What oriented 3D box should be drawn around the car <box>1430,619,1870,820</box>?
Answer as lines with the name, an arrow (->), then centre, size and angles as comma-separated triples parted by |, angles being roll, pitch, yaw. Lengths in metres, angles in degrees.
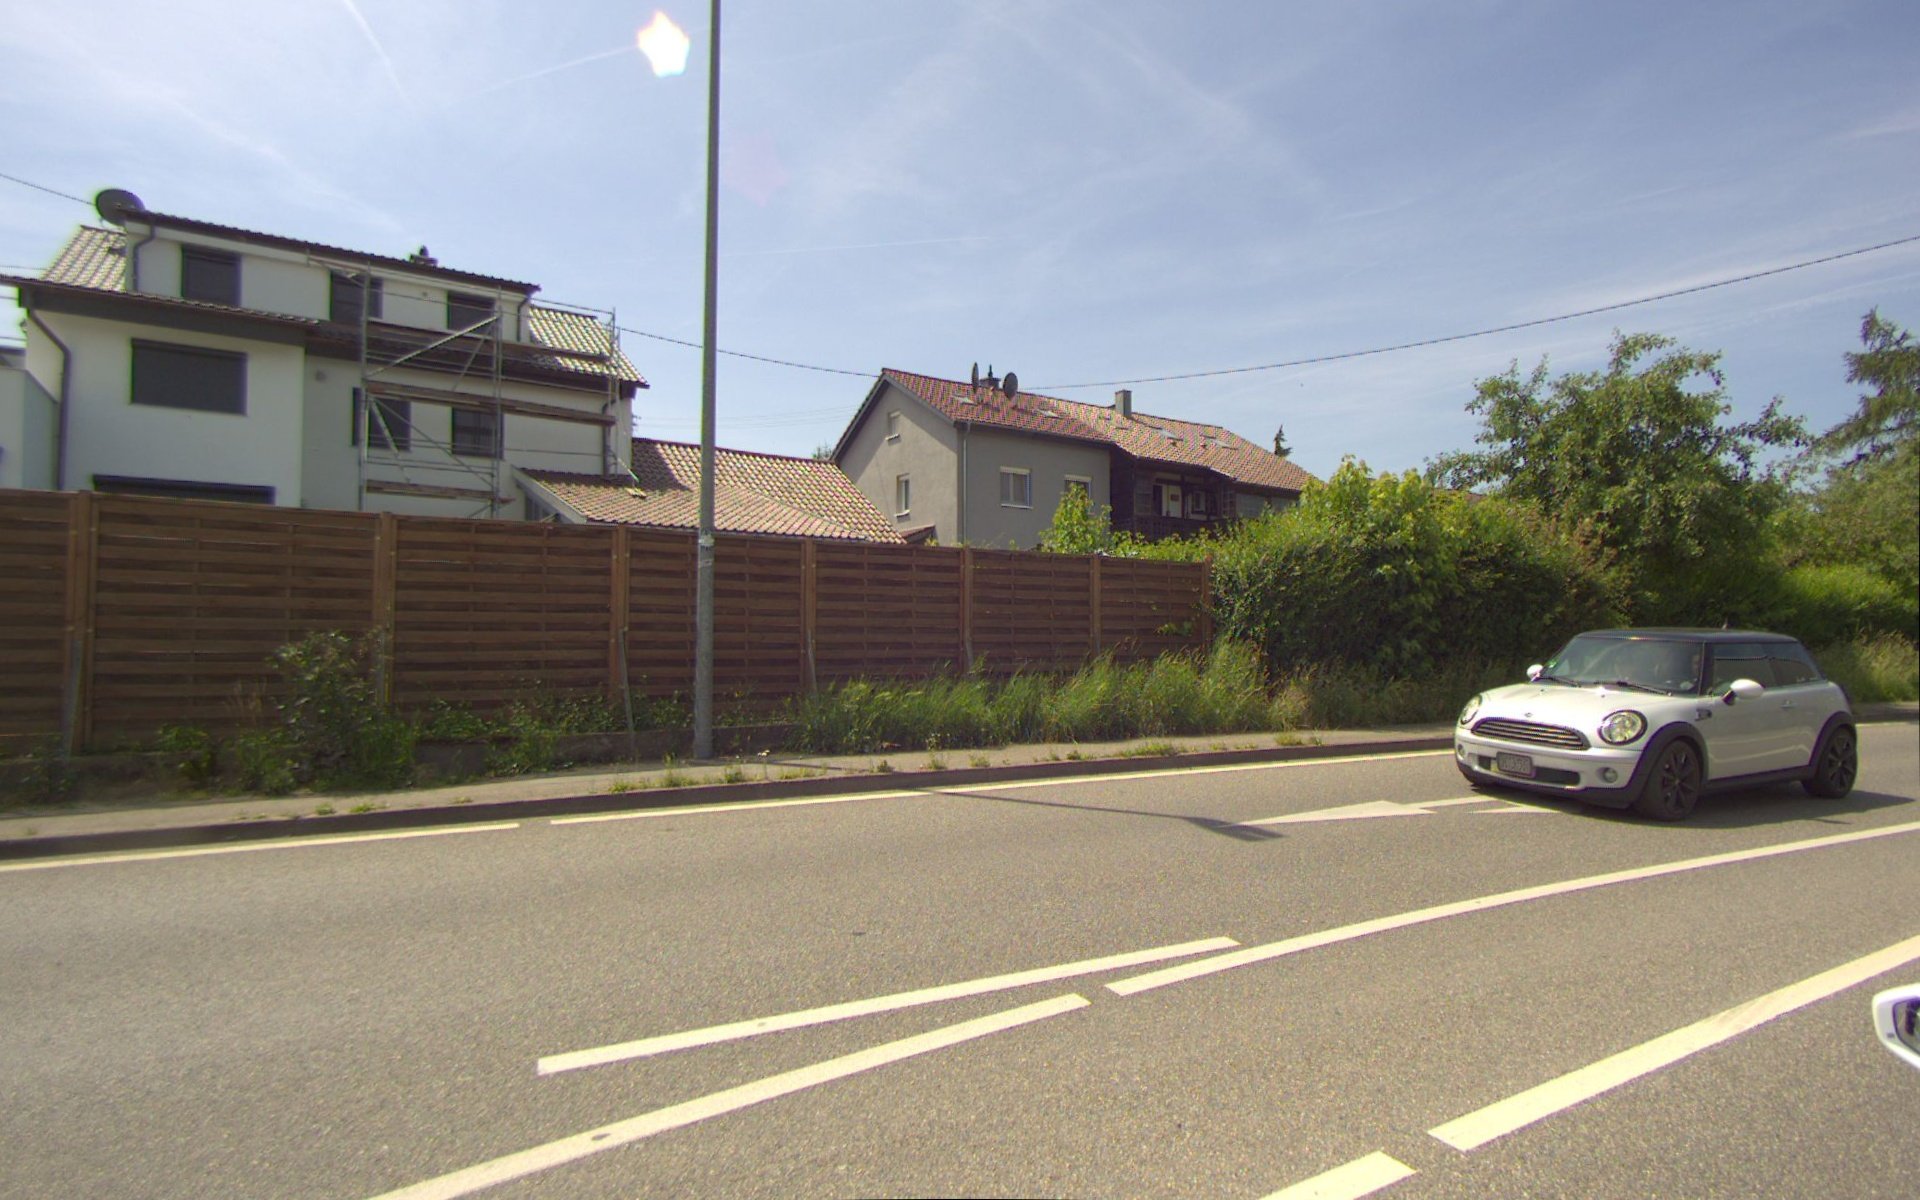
car -> 5.941, 0.883, 8.630 | 3.513, 1.400, 1.616 | 1, 0, -26
